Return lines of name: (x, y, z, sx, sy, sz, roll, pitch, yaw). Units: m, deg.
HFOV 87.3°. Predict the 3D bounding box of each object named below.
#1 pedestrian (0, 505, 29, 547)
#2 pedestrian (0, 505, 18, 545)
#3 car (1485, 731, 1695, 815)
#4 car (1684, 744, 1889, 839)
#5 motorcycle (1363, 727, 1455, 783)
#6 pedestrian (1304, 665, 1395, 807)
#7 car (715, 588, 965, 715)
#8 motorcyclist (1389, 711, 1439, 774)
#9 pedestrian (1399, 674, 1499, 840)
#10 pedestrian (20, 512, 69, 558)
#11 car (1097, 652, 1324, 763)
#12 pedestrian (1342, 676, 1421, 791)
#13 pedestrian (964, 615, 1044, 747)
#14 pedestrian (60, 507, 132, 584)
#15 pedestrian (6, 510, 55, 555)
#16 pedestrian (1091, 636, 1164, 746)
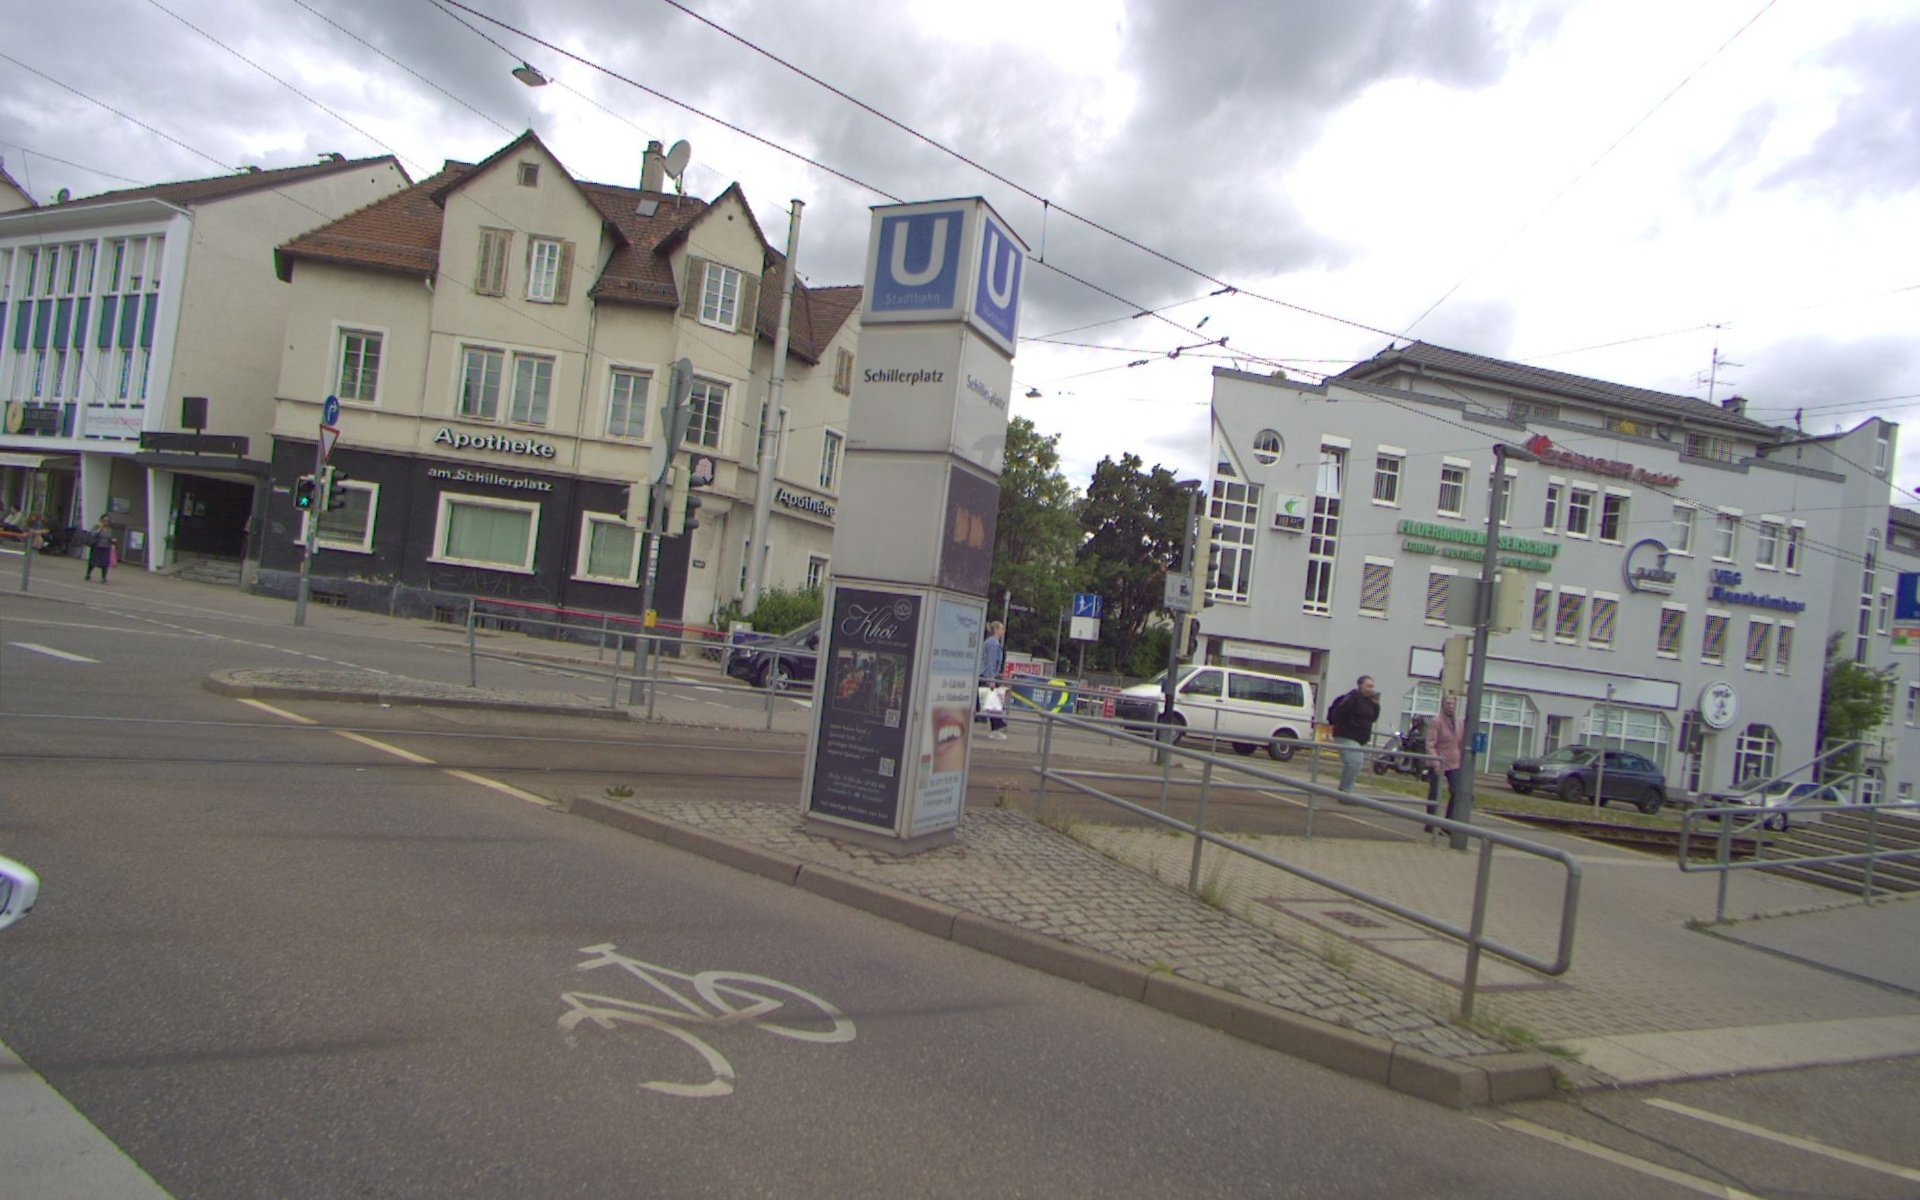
pedestrian: (-29.191, -2.291, 30.781, 0.631, 1.177, 0.739, 7, -2, 22)
pedestrian: (-29.793, -2.357, 31.047, 0.631, 1.177, 0.739, 7, -2, 22)
car: (16.735, 4.592, 26.783, 4.710, 1.487, 1.986, 8, -3, -15)
car: (23.165, 5.355, 28.220, 4.710, 1.940, 1.986, 8, -3, -15)
motorcycle: (11.093, 3.830, 24.839, 1.950, 1.085, 0.762, 8, -3, -15)
pedestrian: (5.100, 1.773, 13.175, 0.698, 1.738, 0.644, 7, 0, -35)
car: (-2.490, 1.064, 20.831, 4.635, 1.844, 1.853, 9, 2, -22)
motorcyclist: (11.225, 3.515, 24.874, 0.682, 1.410, 0.762, 8, -2, -15)
pedestrian: (5.588, 1.782, 11.482, 0.641, 1.737, 0.786, 7, -2, 43)
pedestrian: (-26.489, -1.889, 29.117, 0.631, 1.177, 0.739, 7, -2, 22)
car: (5.911, 2.535, 23.897, 4.710, 1.940, 1.986, 8, -3, -15)
pedestrian: (6.958, 2.194, 16.619, 0.641, 1.737, 0.786, 9, -2, -18)
pedestrian: (0.636, 1.144, 14.321, 0.714, 1.738, 0.844, 7, 0, 21)
pedestrian: (-19.965, -1.242, 23.255, 0.881, 1.609, 0.643, 7, -2, 4)
pedestrian: (-27.124, -1.964, 29.370, 0.631, 1.177, 0.739, 7, -2, 22)
pedestrian: (2.863, 1.558, 17.227, 0.783, 1.737, 0.644, 10, -2, -35)
